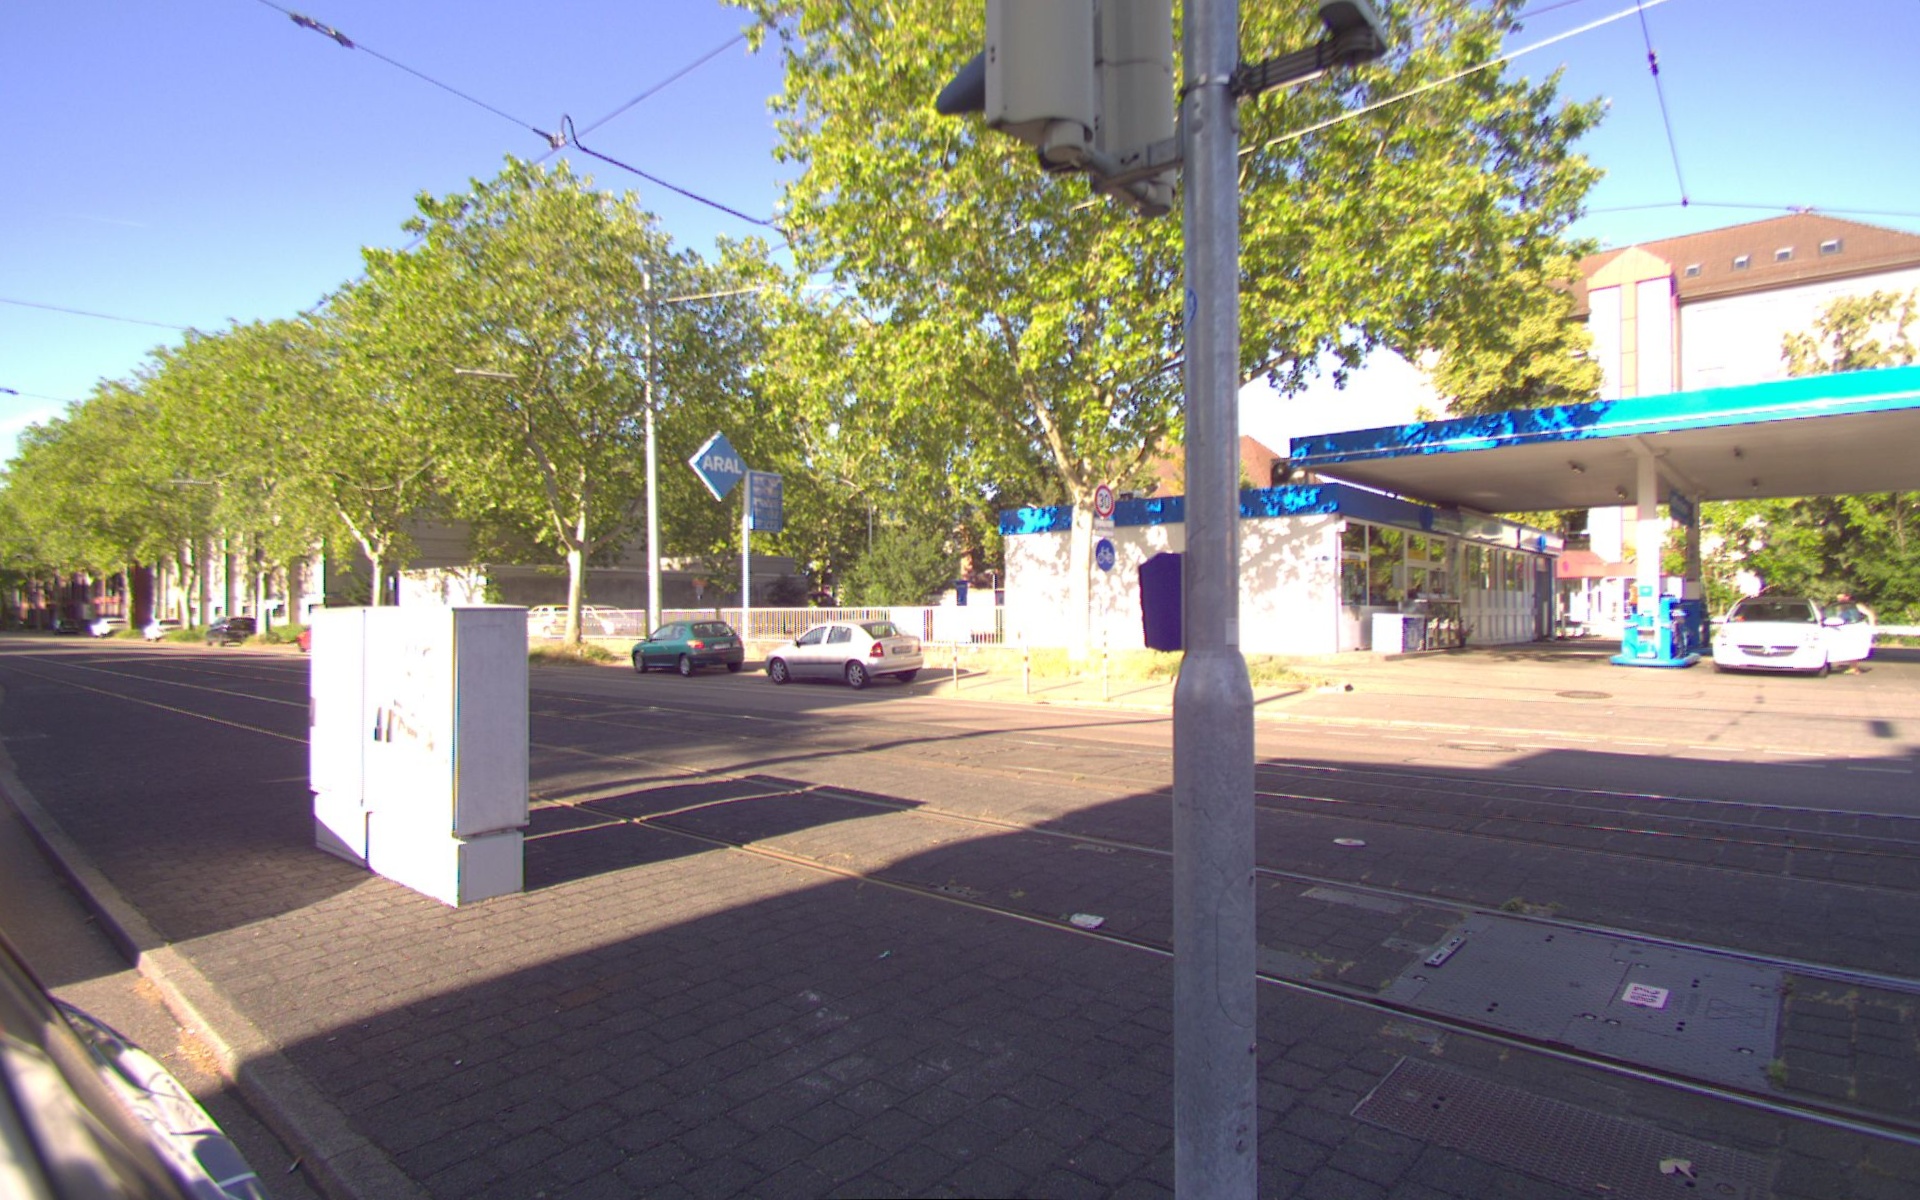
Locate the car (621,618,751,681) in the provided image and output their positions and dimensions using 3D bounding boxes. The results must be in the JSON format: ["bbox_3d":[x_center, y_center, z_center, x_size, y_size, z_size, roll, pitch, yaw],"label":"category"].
[{"bbox_3d":[-7.328,1.271,26.935,3.519,1.475,1.670,-1,2,43],"label":"car"}]

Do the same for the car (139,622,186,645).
[{"bbox_3d":[-53.721,2.256,68.166,3.998,1.509,1.779,-1,-1,41],"label":"car"}]

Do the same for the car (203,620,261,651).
[{"bbox_3d":[-40.755,1.944,56.593,3.998,1.674,1.779,-1,-1,41],"label":"car"}]

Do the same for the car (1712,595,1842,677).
[{"bbox_3d":[16.027,0.670,19.911,1.812,1.453,3.947,-1,-1,39],"label":"car"}]

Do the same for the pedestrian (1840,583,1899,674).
[{"bbox_3d":[17.353,0.536,19.320,0.760,1.705,0.579,-1,-2,37],"label":"pedestrian"}]

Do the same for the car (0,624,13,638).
[{"bbox_3d":[-107.283,3.431,113.083,3.998,1.525,1.779,-1,-1,41],"label":"car"}]

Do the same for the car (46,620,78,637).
[{"bbox_3d":[-85.325,2.720,96.120,3.998,1.525,1.779,-1,-1,41],"label":"car"}]

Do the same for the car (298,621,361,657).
[{"bbox_3d":[-28.556,1.743,45.802,3.045,1.519,1.620,-1,-1,41],"label":"car"}]

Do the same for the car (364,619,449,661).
[{"bbox_3d":[-21.942,1.544,40.055,3.652,1.541,1.802,-1,-1,41],"label":"car"}]

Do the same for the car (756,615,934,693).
[{"bbox_3d":[-2.630,1.153,22.666,3.965,1.475,1.771,-1,2,43],"label":"car"}]

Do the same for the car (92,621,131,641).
[{"bbox_3d":[-66.685,2.391,79.532,3.998,1.525,1.779,-1,-1,41],"label":"car"}]
